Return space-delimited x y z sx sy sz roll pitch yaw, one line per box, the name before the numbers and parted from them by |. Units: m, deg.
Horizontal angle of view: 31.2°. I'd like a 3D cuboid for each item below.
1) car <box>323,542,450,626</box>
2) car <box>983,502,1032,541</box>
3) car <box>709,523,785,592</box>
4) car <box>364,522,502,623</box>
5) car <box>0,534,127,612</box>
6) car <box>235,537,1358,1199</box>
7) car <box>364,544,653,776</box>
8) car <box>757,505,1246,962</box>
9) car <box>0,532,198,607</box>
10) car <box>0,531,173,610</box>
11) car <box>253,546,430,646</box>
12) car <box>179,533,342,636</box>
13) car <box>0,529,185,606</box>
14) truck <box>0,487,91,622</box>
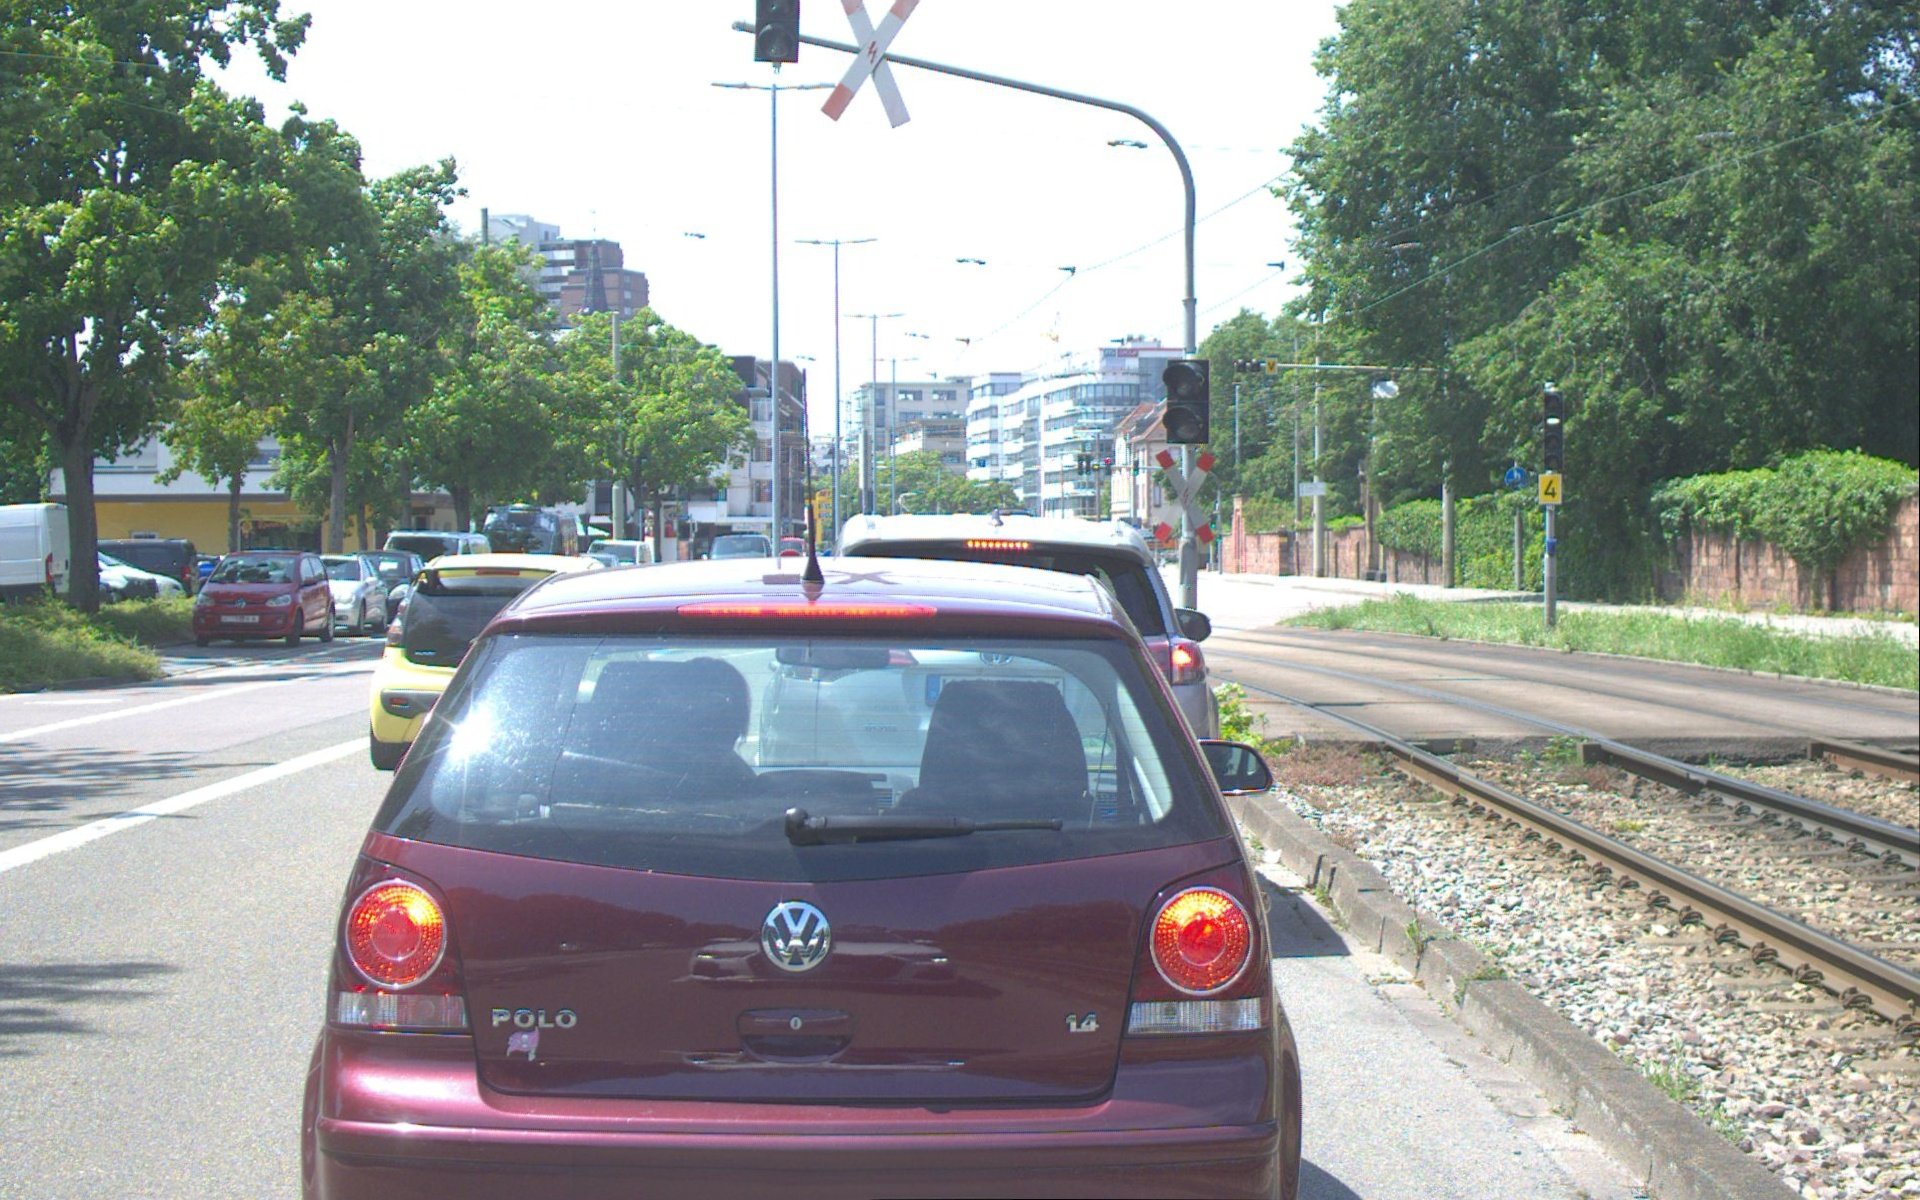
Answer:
car | -10.969 -0.323 65.965 1.614 1.479 3.784 3 1 2
car | 2.307 -3.843 168.501 1.918 1.904 4.572 -1 1 -5
car | -6.160 -1.251 99.724 1.918 1.904 4.571 -2 1 -1
car | -10.876 -0.589 71.285 1.863 1.930 4.805 3 1 2
car | -21.589 -0.630 79.500 4.209 1.759 1.857 -1 1 -1
car | -0.263 0.633 6.966 1.609 1.493 4.000 1 1 -1
car | -3.020 0.355 23.534 1.551 1.443 3.412 1 1 -1
car | 0.130 0.457 14.767 1.795 1.677 4.000 1 1 -1
car | -21.688 -0.779 86.264 4.718 1.807 1.797 -1 1 -1
car | -21.289 -0.712 81.750 4.718 1.807 1.797 -1 1 -1
car | -10.921 -0.102 61.005 1.719 1.422 4.770 -6 1 6
car | -10.983 -0.249 54.188 1.672 1.541 3.726 1 1 2
car | -21.499 -0.799 83.975 4.718 1.807 1.797 -1 1 -1
truck | -21.117 -0.924 71.186 5.578 2.750 2.432 -1 1 1
